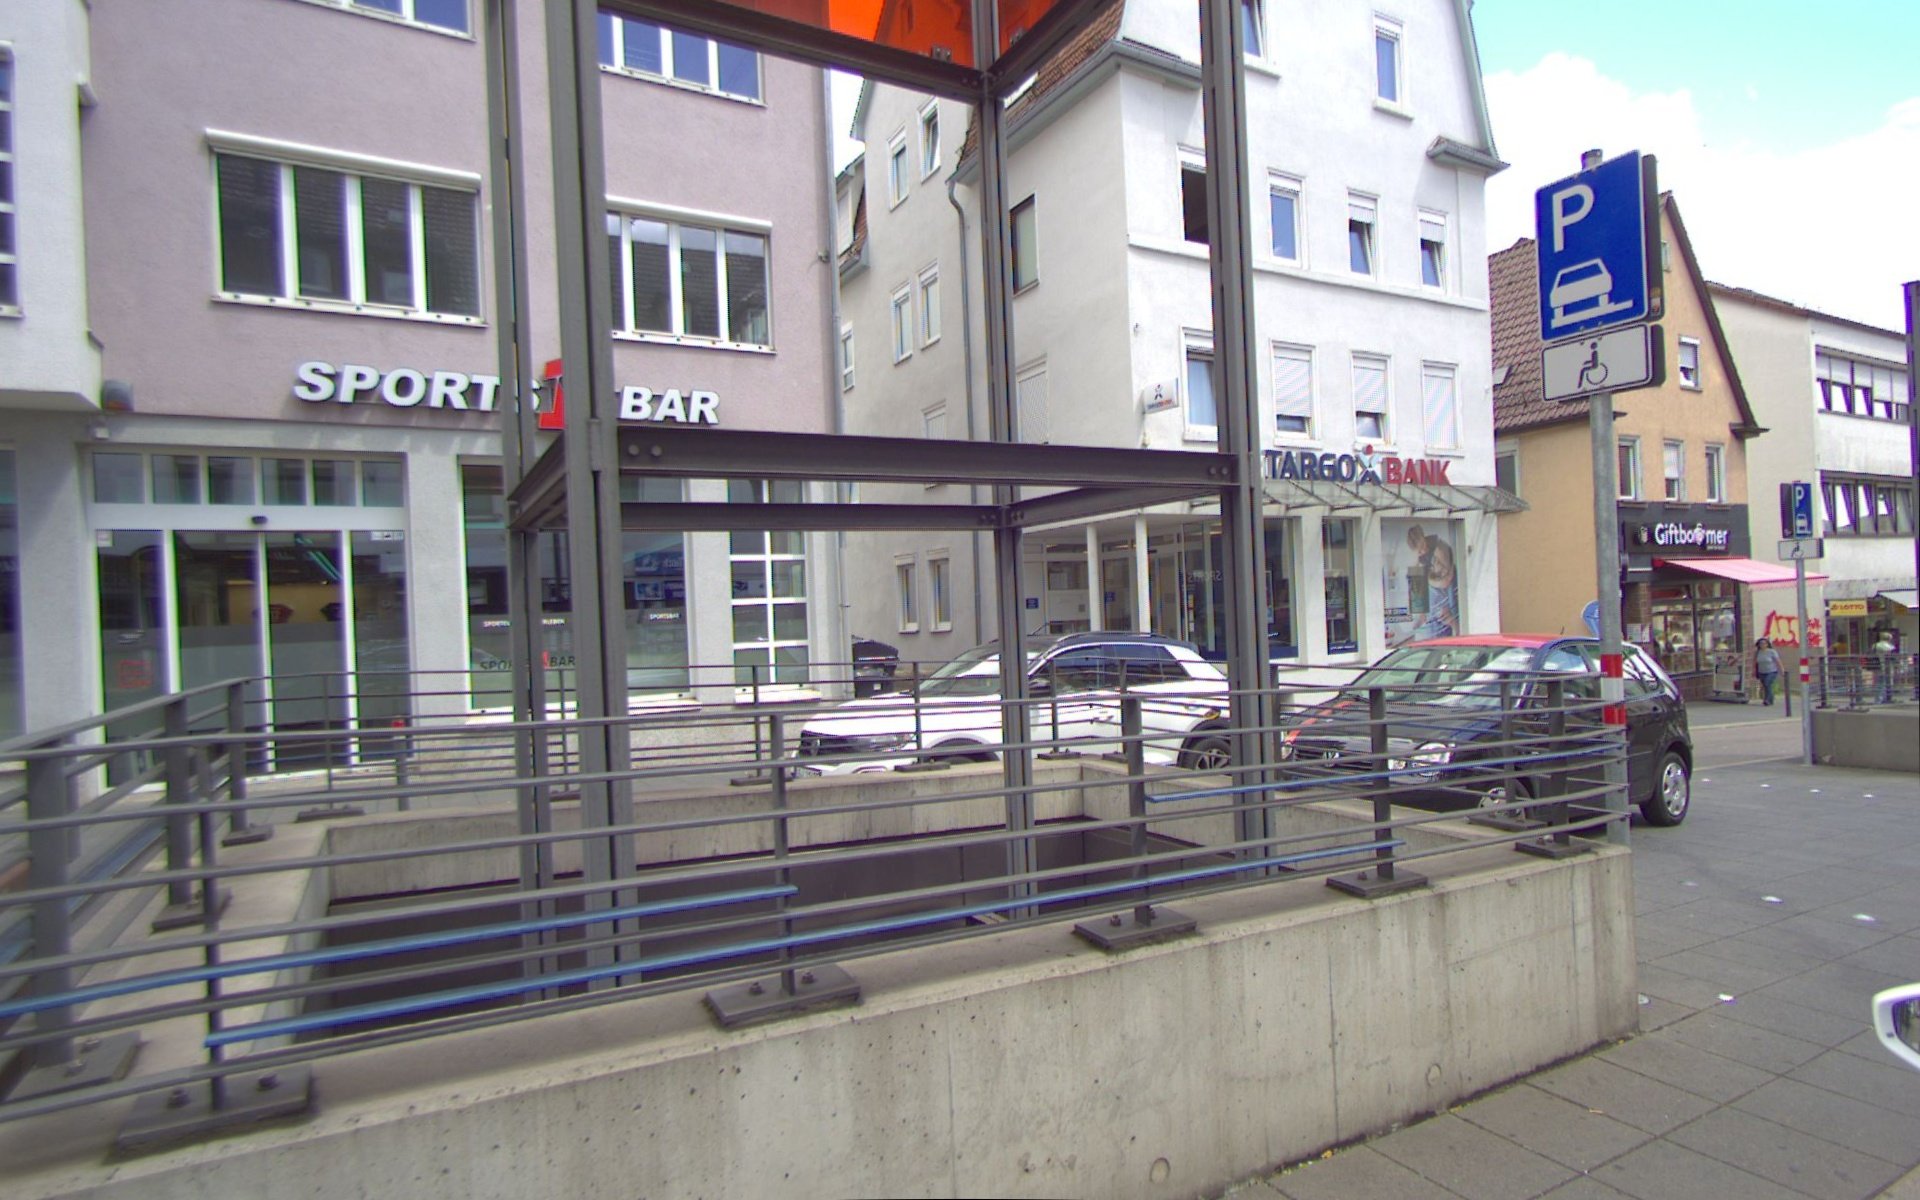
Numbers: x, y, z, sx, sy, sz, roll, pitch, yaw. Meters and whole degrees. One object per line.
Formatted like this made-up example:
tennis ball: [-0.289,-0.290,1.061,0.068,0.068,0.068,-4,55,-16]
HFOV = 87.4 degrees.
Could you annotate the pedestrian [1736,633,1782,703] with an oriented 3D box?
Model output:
pedestrian: [18.678,1.581,23.488,0.708,1.594,0.562,1,-3,-30]

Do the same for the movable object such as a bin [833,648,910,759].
movable object such as a bin: [-1.174,1.339,13.292,0.798,1.394,0.686,1,-1,-30]

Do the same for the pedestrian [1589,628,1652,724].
pedestrian: [12.062,1.369,18.355,0.816,1.711,0.637,1,-1,-26]

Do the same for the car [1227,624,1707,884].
car: [3.906,0.953,7.546,3.815,1.495,1.559,2,-1,-34]

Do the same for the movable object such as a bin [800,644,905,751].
movable object such as a bin: [-1.537,1.343,14.257,1.055,1.394,1.277,1,-1,-30]

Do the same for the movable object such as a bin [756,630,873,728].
movable object such as a bin: [-2.238,1.167,15.360,1.391,1.394,1.277,1,-1,-30]

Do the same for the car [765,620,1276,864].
car: [0.594,1.013,8.481,4.075,1.592,1.671,2,0,-31]

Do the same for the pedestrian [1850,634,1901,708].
pedestrian: [21.841,1.682,23.964,0.653,1.711,0.646,1,-1,10]
